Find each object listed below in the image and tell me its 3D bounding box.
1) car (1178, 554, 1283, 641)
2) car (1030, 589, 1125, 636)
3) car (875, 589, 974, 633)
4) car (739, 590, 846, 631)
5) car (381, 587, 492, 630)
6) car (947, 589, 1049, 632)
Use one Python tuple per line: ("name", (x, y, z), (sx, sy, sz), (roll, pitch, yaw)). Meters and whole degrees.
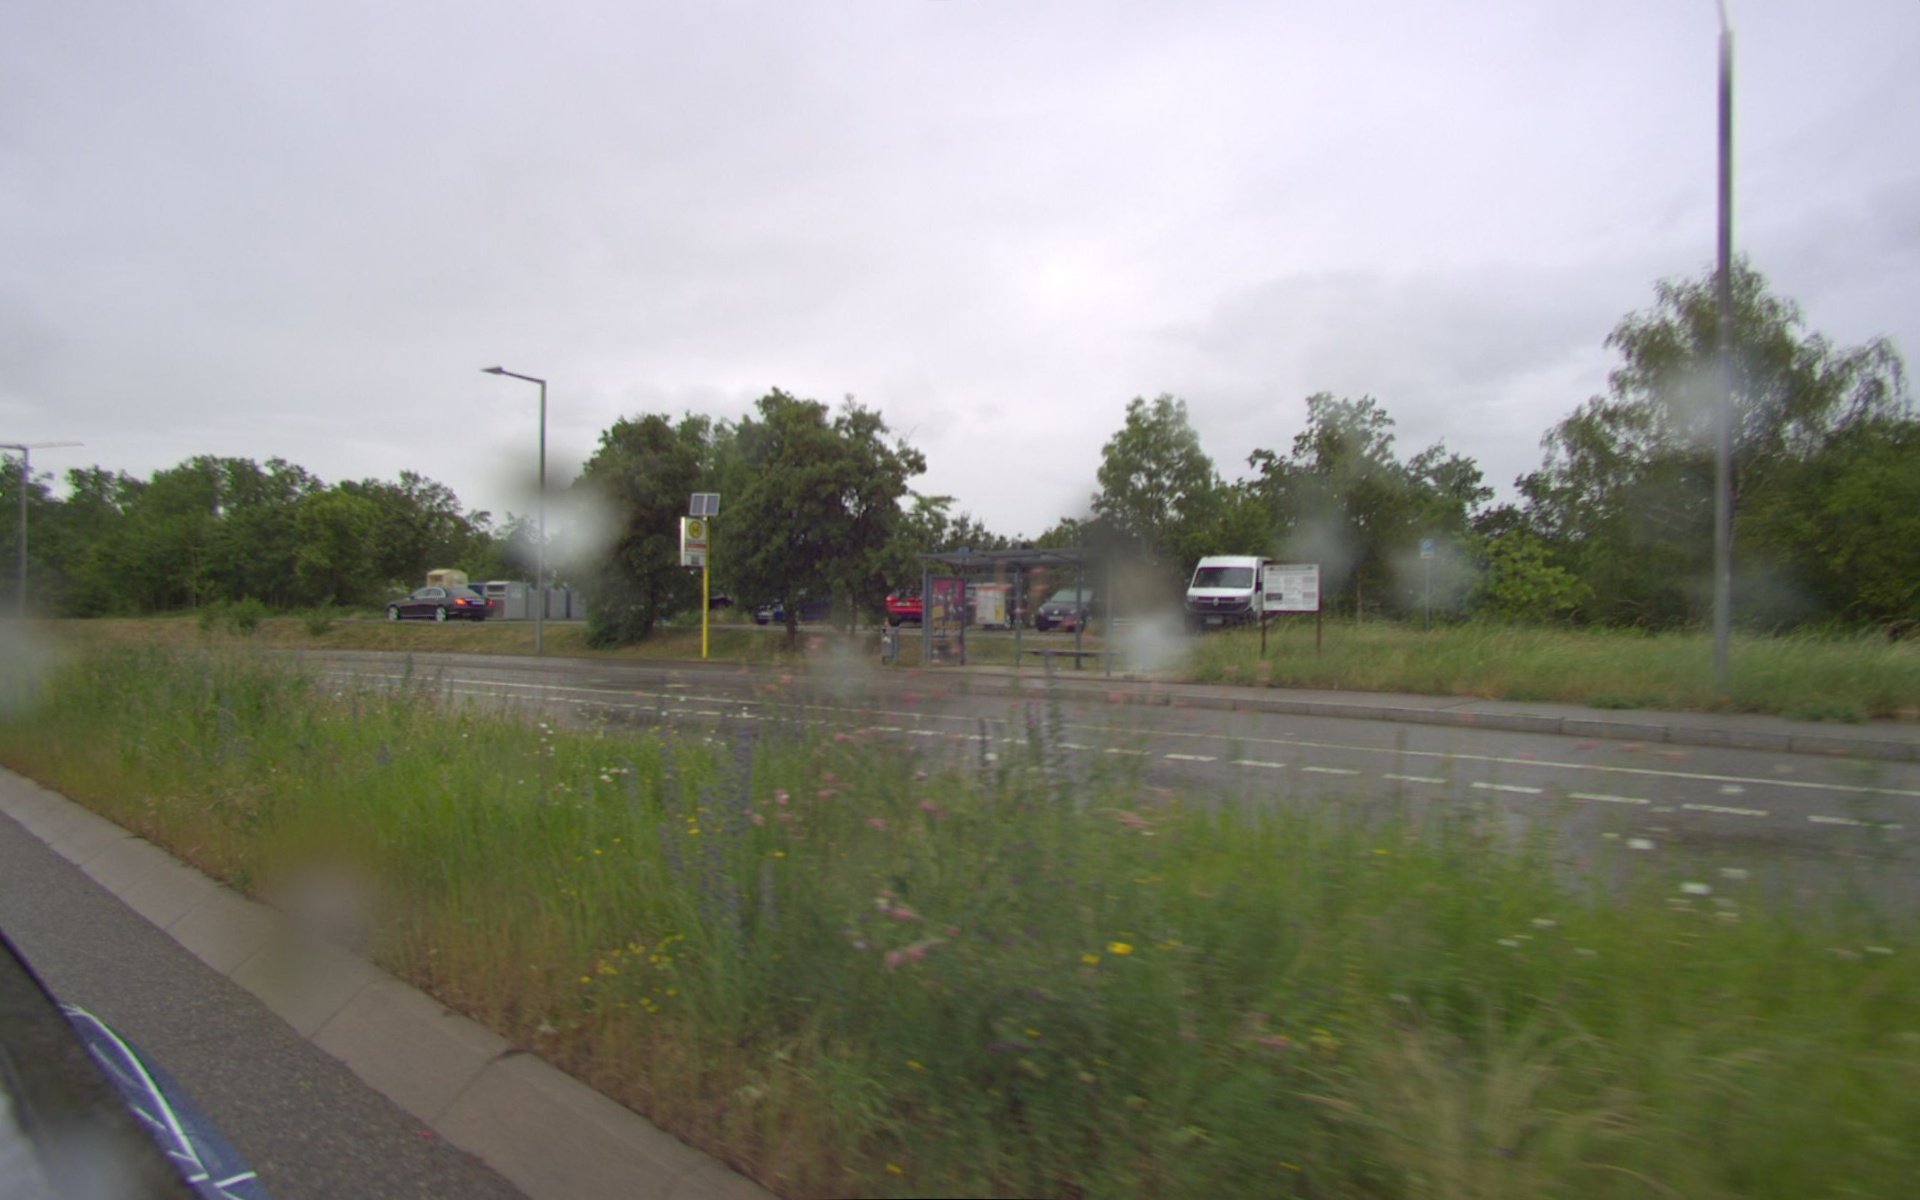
("car", (8.610, -0.090, 31.718), (2.127, 2.415, 6.522), (1, 0, 24))
("car", (3.936, 0.376, 33.367), (1.646, 1.374, 3.959), (-1, 1, 30))
("car", (-1.215, 0.431, 36.452), (1.840, 1.480, 3.961), (-1, -1, 29))
("car", (-6.252, 0.378, 38.116), (1.893, 1.374, 3.959), (-1, 1, 30))
("car", (-21.185, 0.346, 40.899), (4.520, 1.580, 1.681), (-2, 1, 28))
("car", (1.360, 0.389, 34.434), (1.841, 1.374, 3.958), (-1, -2, 30))
